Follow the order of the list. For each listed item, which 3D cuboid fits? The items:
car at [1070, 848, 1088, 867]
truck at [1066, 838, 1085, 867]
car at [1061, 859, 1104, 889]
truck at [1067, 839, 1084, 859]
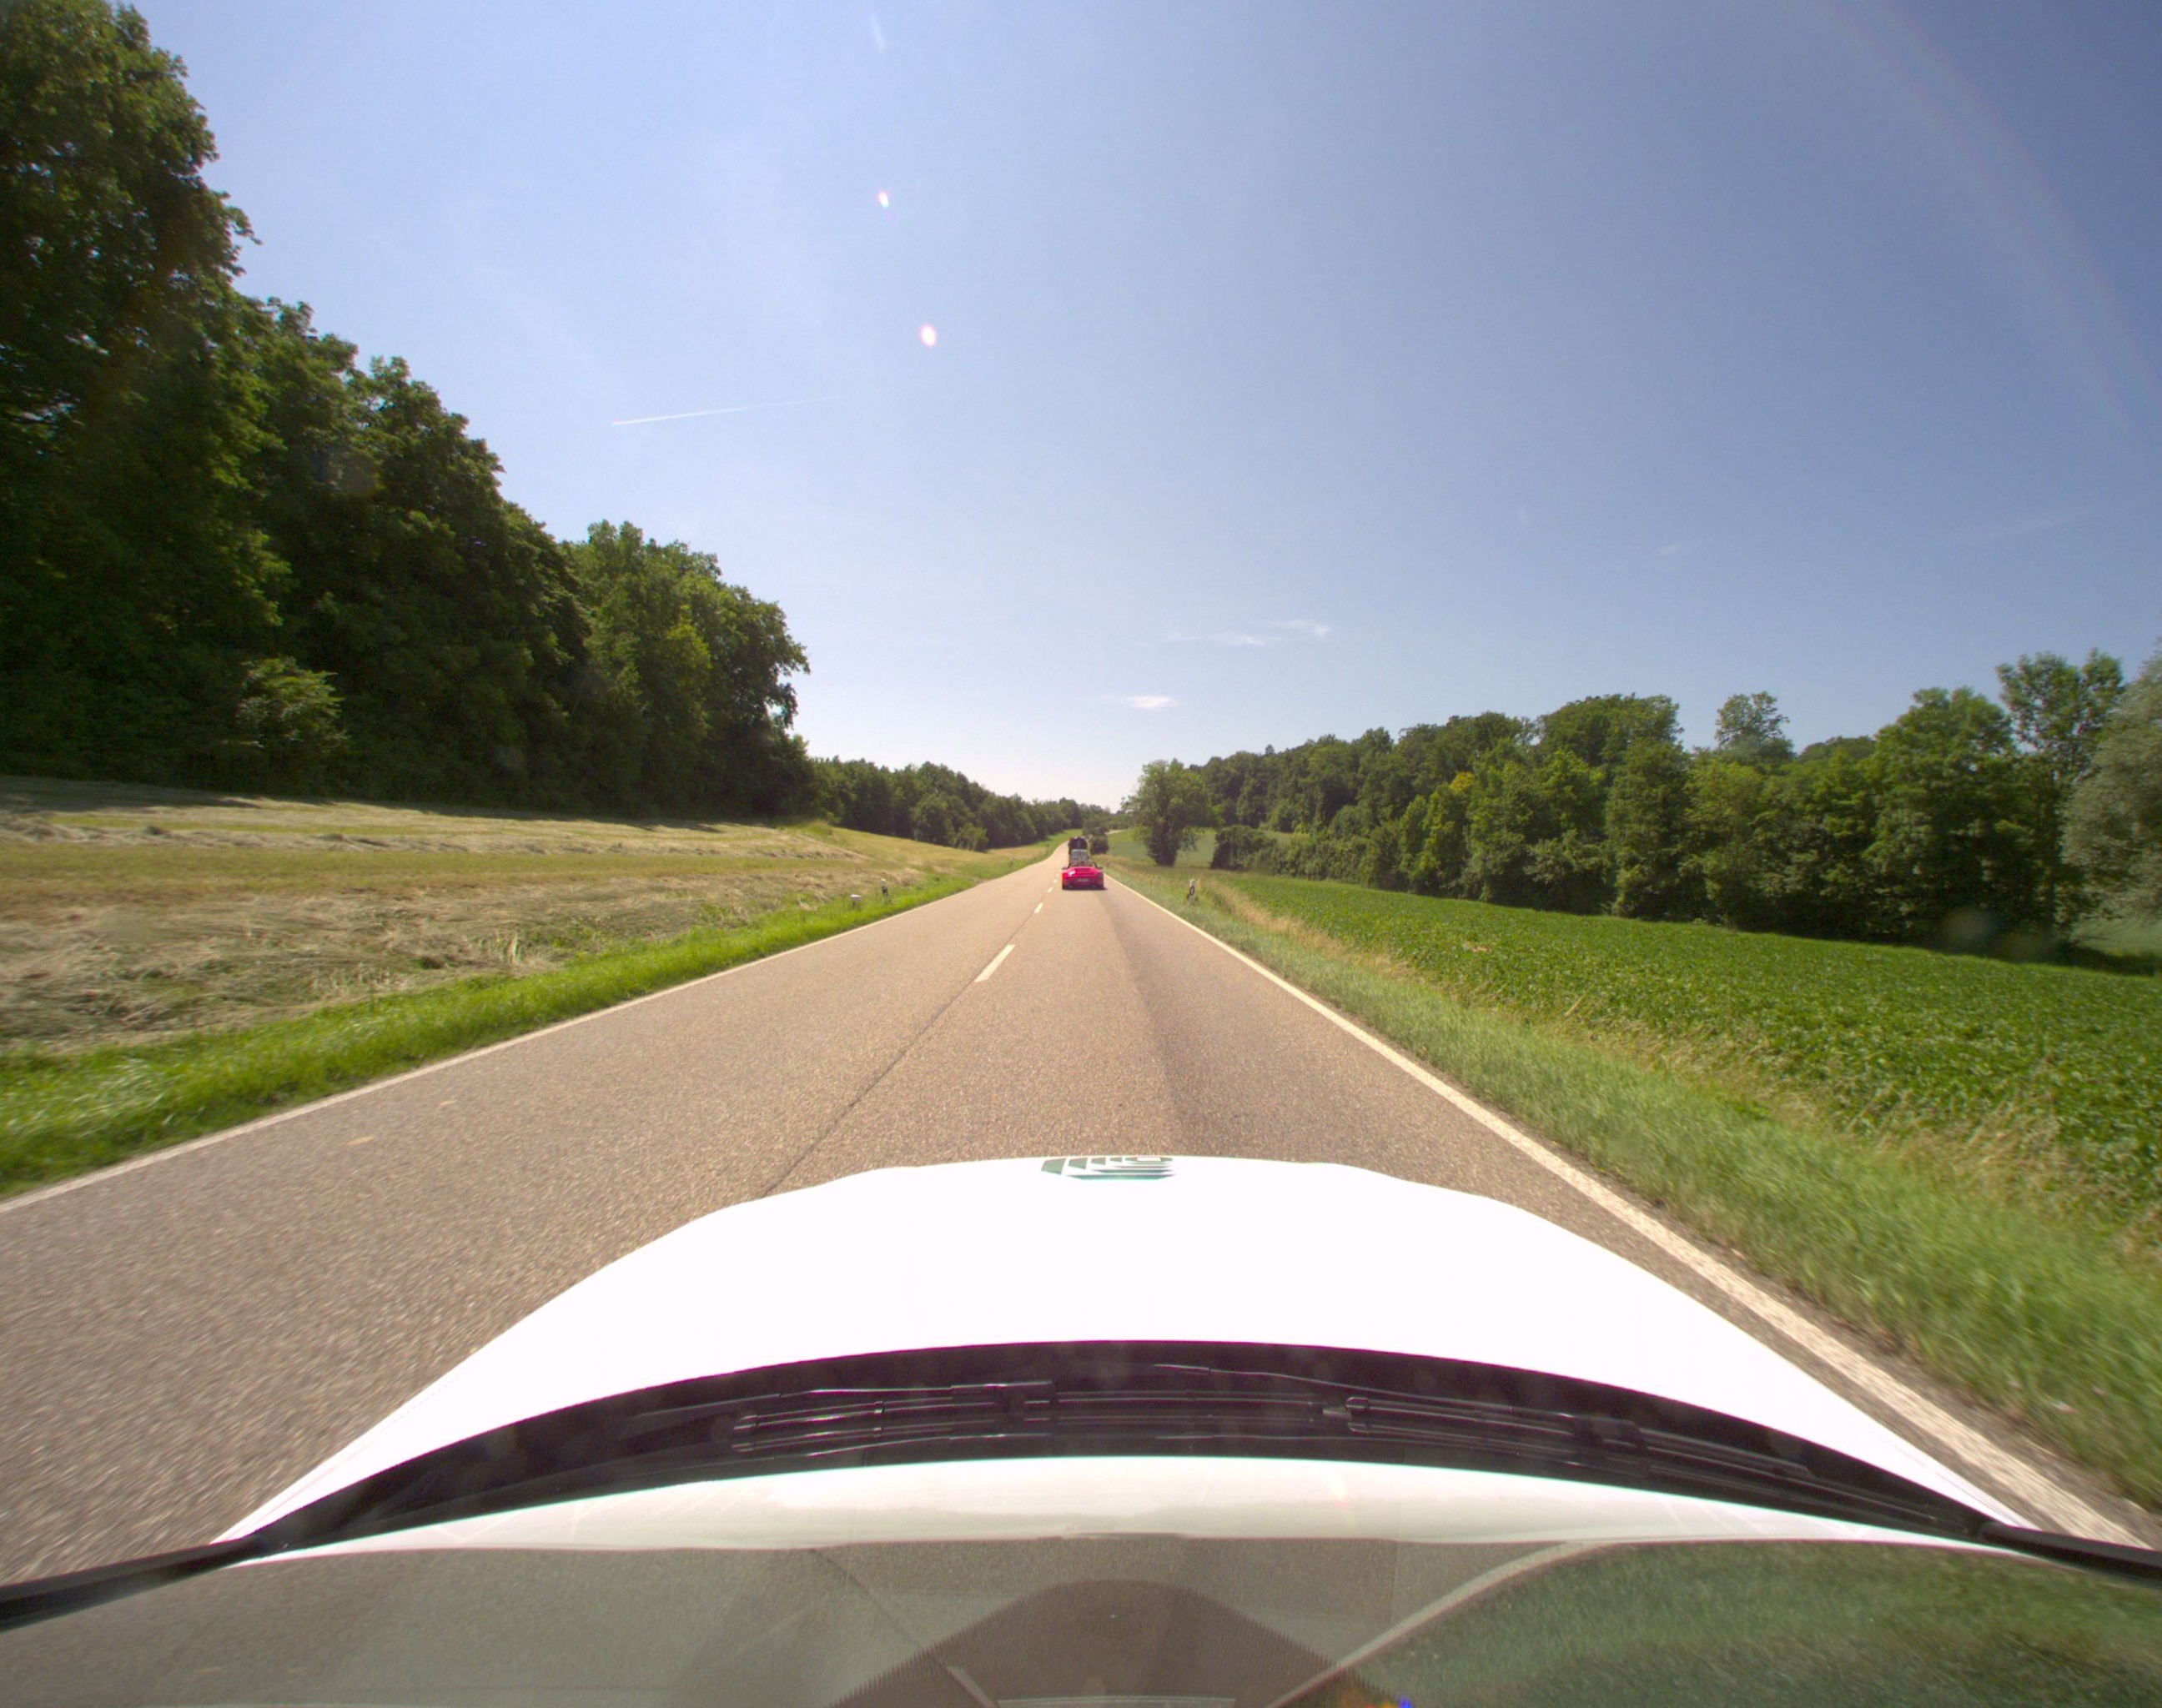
[{"bbox_3d":[-0.146,0.378,84.765,1.672,1.900,4.011,-1,0,2],"label":"car"},{"bbox_3d":[-0.873,-0.322,121.079,2.397,4.049,12.543,-1,1,-2],"label":"truck"},{"bbox_3d":[0.066,0.889,37.182,1.876,1.255,4.008,-1,0,0],"label":"car"},{"bbox_3d":[-1.390,-1.411,207.234,3.717,4.659,12.020,0,3,-3],"label":"truck"}]
